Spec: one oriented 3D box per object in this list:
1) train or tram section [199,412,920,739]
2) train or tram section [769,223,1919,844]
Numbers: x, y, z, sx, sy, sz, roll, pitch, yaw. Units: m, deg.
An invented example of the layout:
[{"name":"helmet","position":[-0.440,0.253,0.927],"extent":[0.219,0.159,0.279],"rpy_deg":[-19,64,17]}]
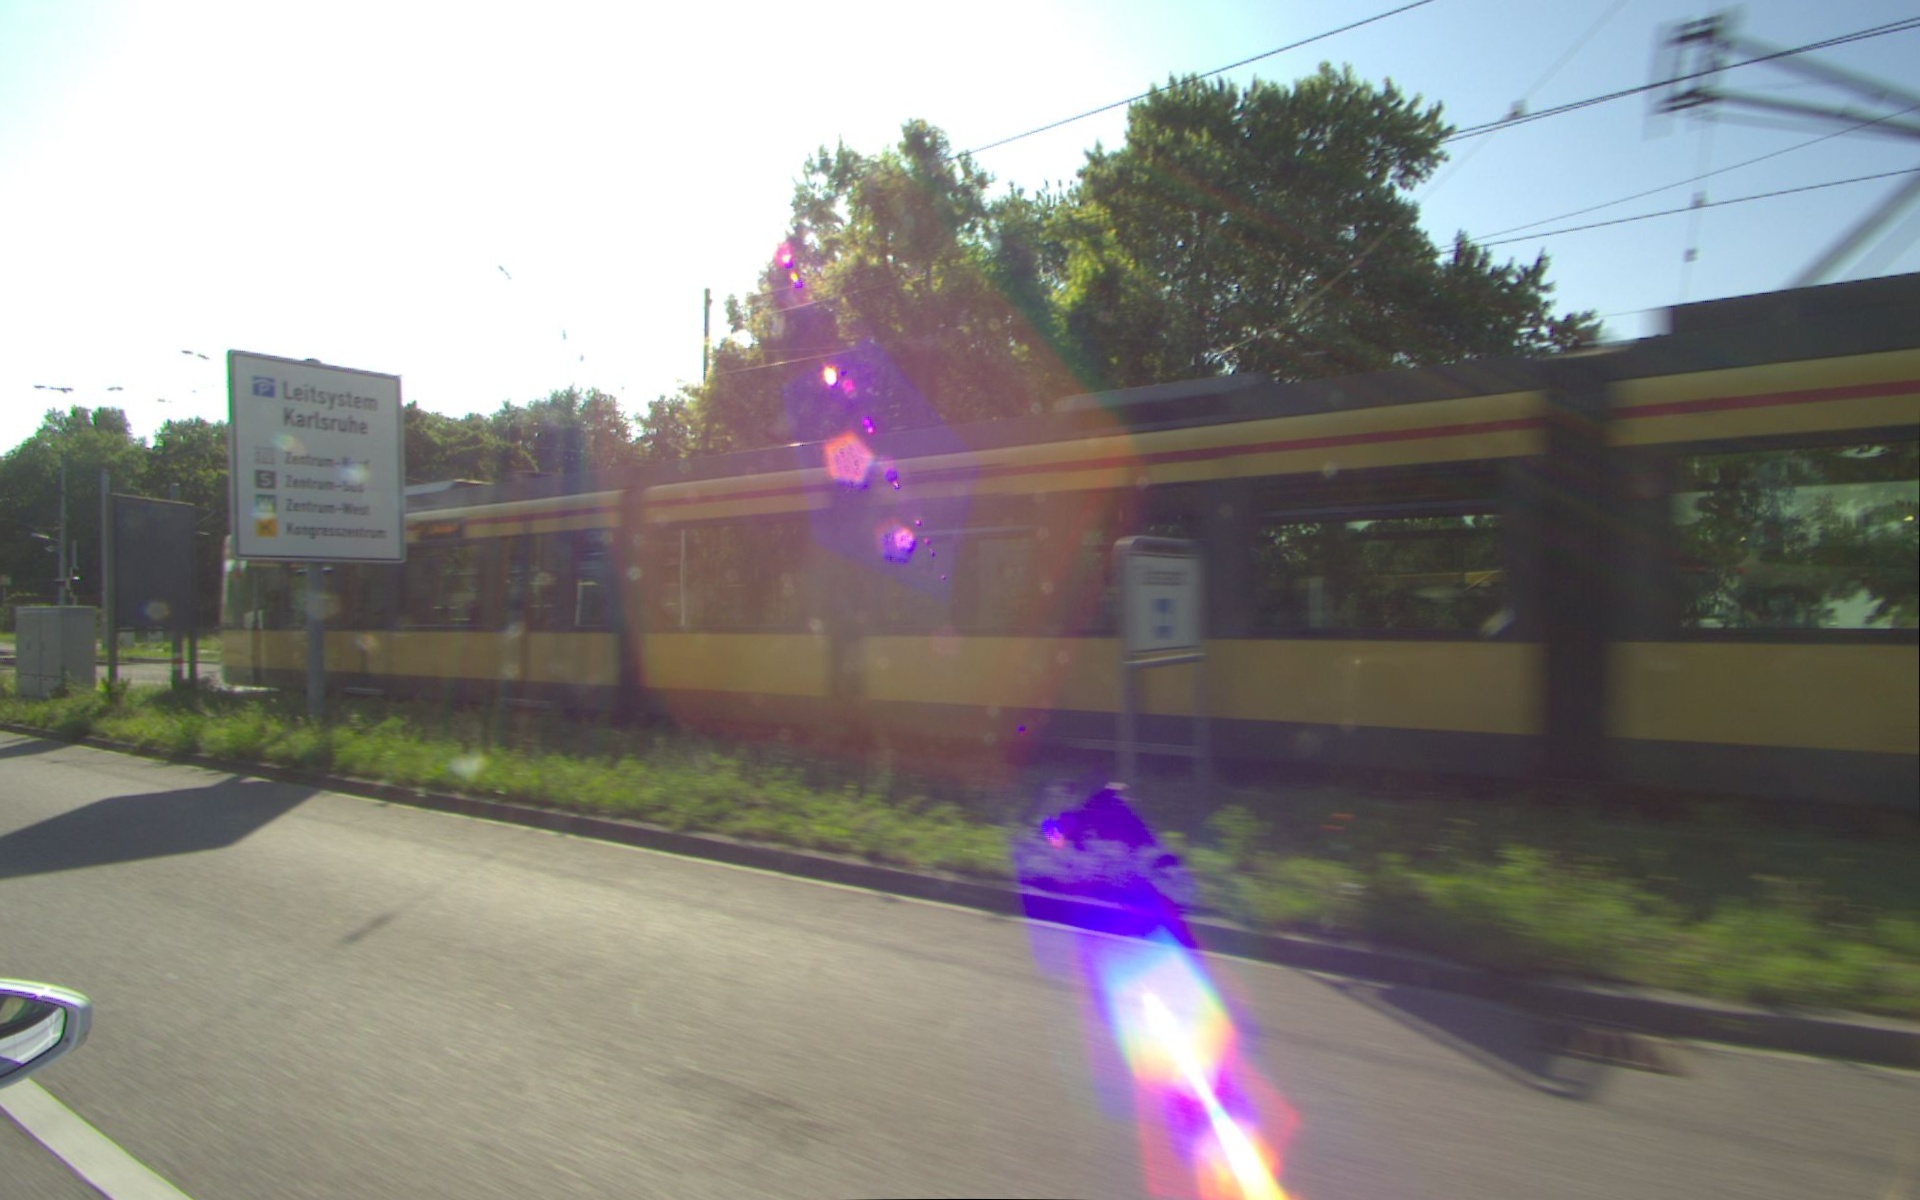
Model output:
[{"name":"train or tram section","position":[-7.421,-0.095,15.946],"extent":[14.759,3.525,2.679],"rpy_deg":[-1,-1,33]},{"name":"train or tram section","position":[3.258,-0.287,9.008],"extent":[11.101,3.599,2.744],"rpy_deg":[-1,-1,34]}]
